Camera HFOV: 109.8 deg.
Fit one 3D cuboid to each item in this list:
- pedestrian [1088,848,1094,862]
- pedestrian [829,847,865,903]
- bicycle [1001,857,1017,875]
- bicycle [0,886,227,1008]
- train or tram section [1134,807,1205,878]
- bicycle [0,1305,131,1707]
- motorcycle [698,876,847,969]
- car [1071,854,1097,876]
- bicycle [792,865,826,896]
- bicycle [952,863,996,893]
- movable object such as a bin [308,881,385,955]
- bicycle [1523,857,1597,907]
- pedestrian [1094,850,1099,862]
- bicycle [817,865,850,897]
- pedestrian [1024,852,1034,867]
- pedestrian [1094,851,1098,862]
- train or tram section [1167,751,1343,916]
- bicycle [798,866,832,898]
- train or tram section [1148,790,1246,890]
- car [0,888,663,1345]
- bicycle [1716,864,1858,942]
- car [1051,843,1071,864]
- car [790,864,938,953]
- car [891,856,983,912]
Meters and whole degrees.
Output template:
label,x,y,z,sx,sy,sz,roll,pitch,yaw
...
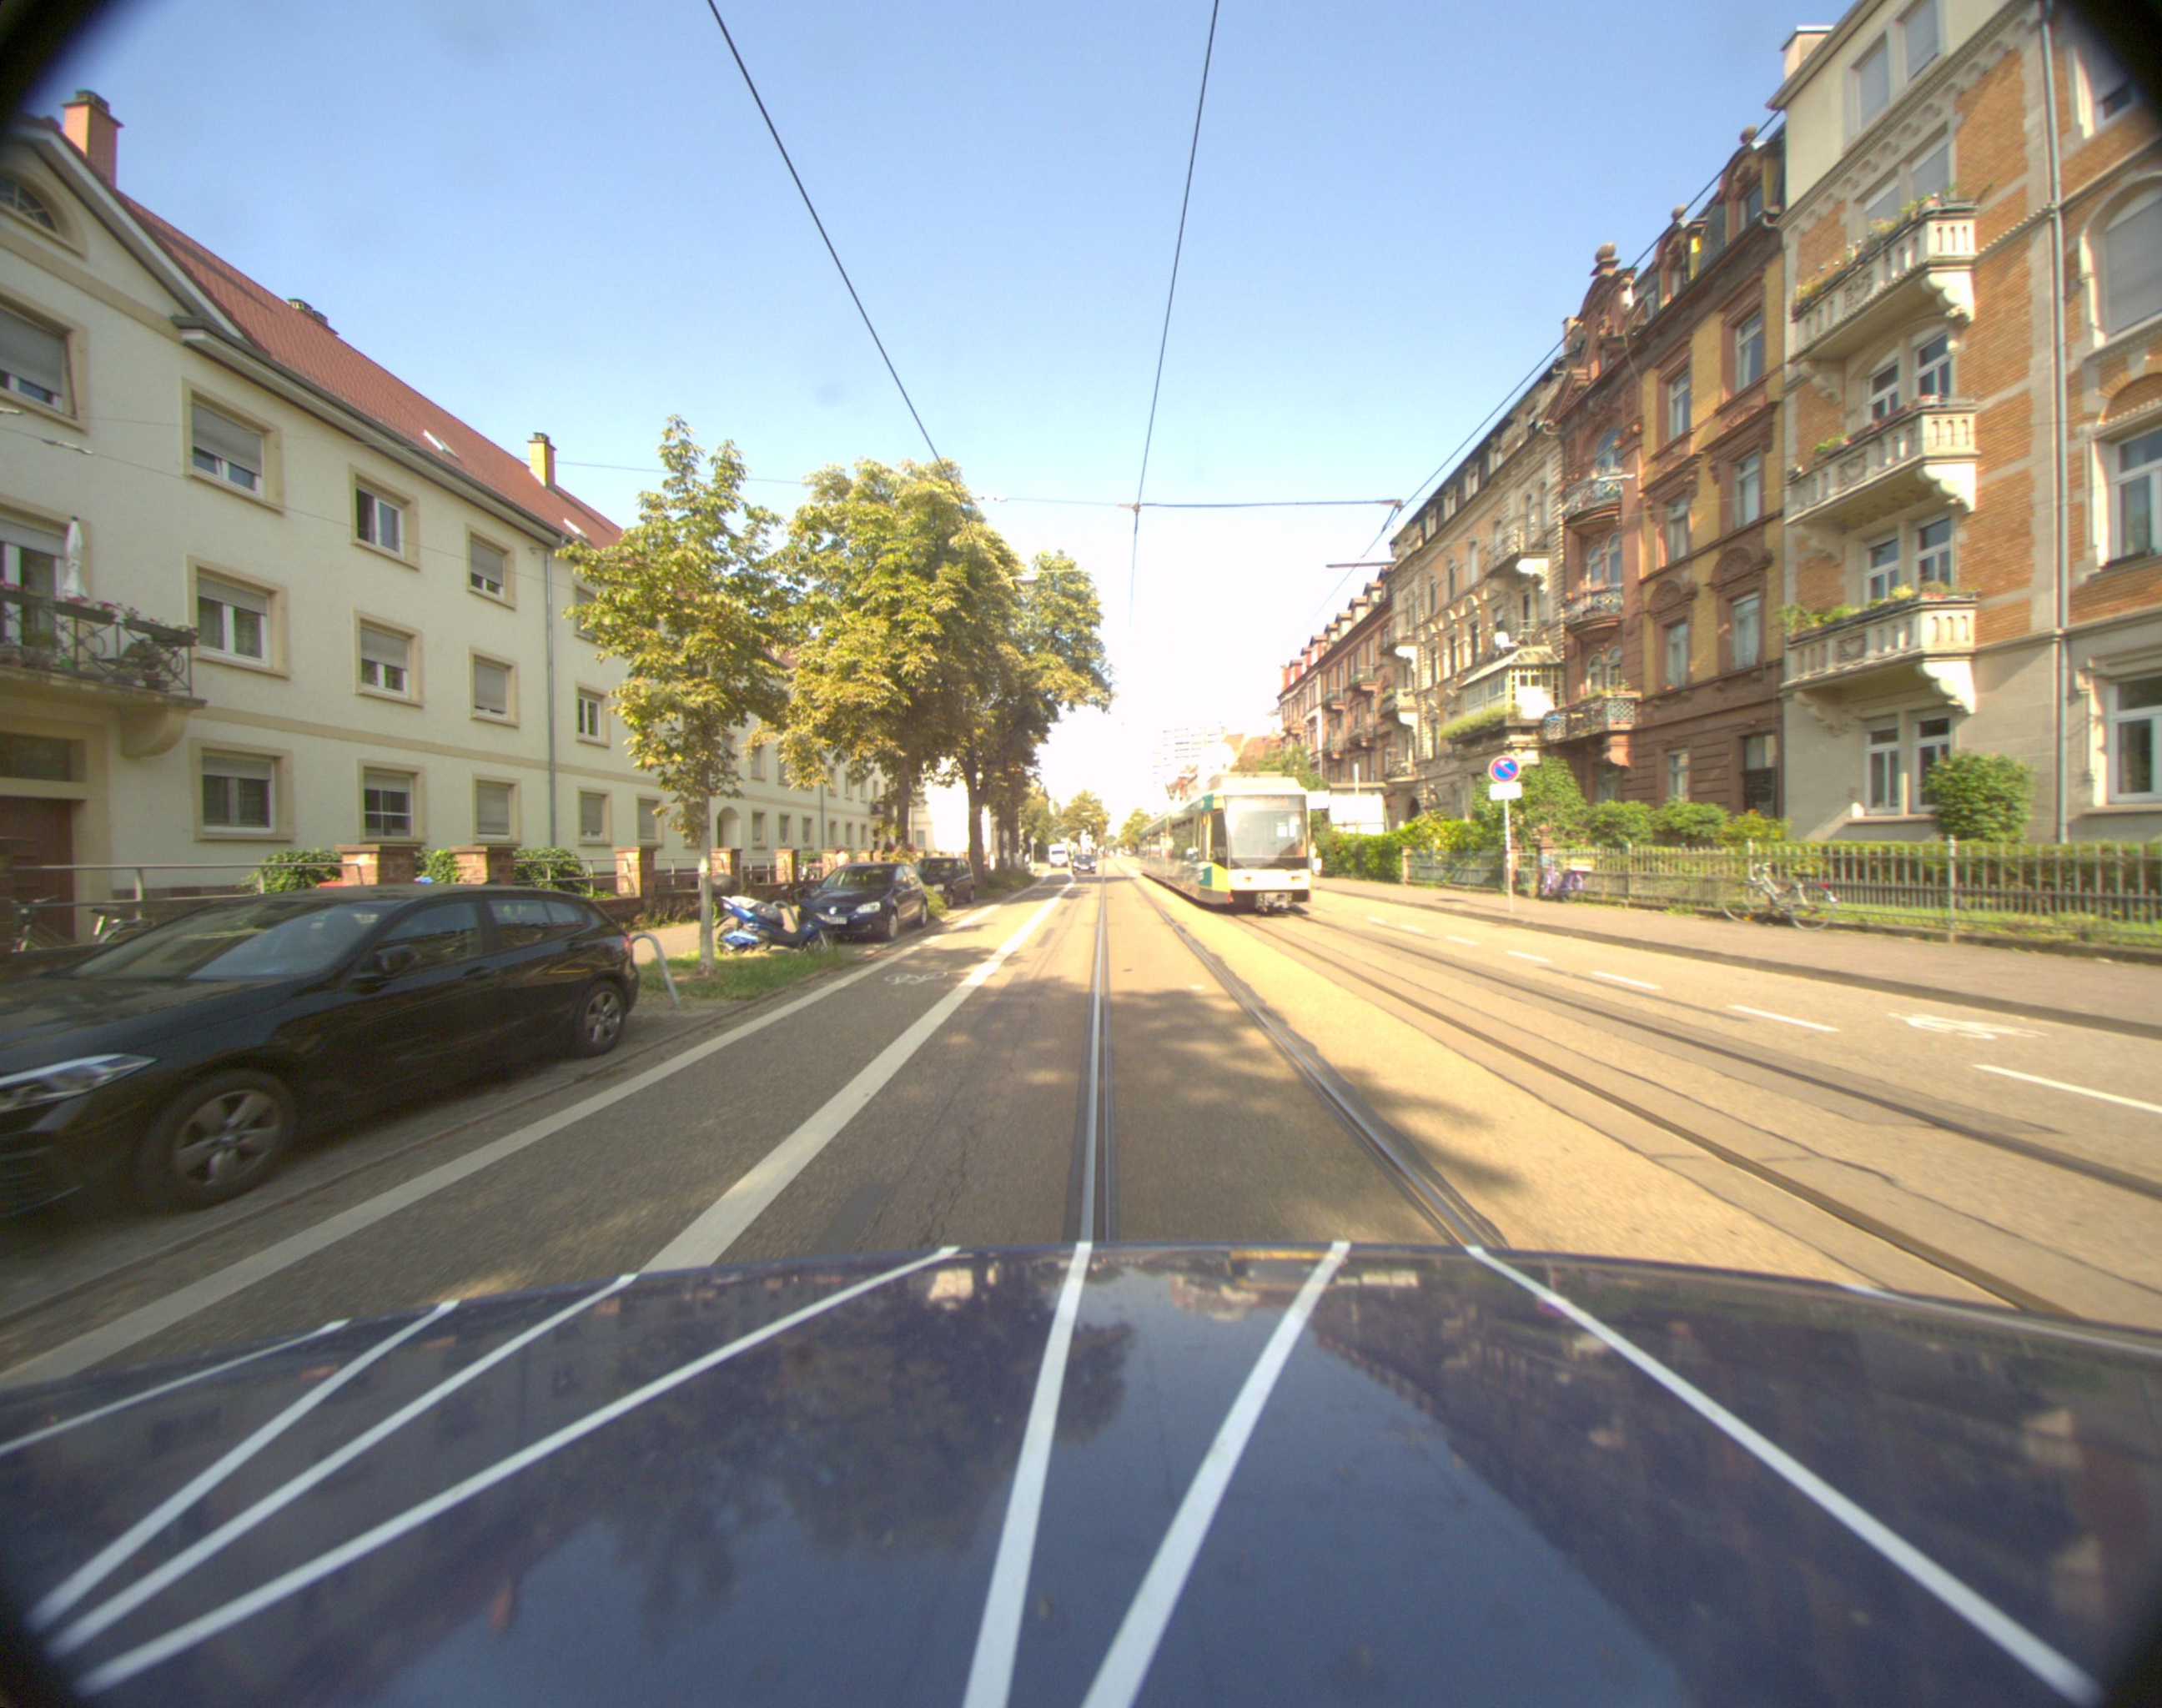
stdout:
label,x,y,z,sx,sy,sz,roll,pitch,yaw
pedestrian,1.285,0.161,97.460,0.769,1.750,0.680,-1,1,1
pedestrian,-7.547,0.662,24.524,0.754,1.739,0.879,-1,1,8
bicycle,-4.474,0.729,47.277,0.773,1.097,2.333,-1,0,0
bicycle,-10.903,0.950,8.171,0.773,1.097,2.333,-1,0,0
train or tram section,4.959,-0.614,45.658,2.741,3.485,15.433,-2,0,1
bicycle,-2.053,1.278,0.604,0.628,0.903,1.525,-3,1,1
motorcycle,-4.605,1.026,11.428,1.859,1.281,0.705,3,-4,-1
car,0.223,0.780,55.372,1.775,1.459,4.000,-2,0,0
bicycle,-9.990,0.962,27.961,0.525,1.067,1.729,-2,1,3
bicycle,-4.200,0.937,29.913,0.524,1.067,1.732,-1,1,44
movable object such as a bin,-11.223,0.962,11.626,0.507,1.063,0.660,-1,1,3
bicycle,11.293,0.637,17.975,0.608,1.052,1.840,-5,0,4
pedestrian,2.196,0.295,107.756,0.590,1.711,0.607,-1,1,4
bicycle,-8.936,0.945,27.453,0.525,1.067,1.729,-2,1,3
pedestrian,-6.112,0.600,88.919,1.079,1.714,0.969,2,1,1
pedestrian,2.134,0.296,107.112,0.590,1.535,0.607,-1,1,4
train or tram section,4.363,-0.461,21.771,2.741,3.485,10.776,-2,0,1
bicycle,-9.552,0.989,27.348,0.525,1.067,1.729,-2,1,3
train or tram section,4.625,-0.522,32.552,2.741,3.485,10.776,-2,0,1
car,-4.753,1.062,4.815,1.693,1.426,4.337,2,0,1
bicycle,11.107,0.731,12.044,0.546,1.052,1.840,-5,0,4
car,-2.234,-0.099,86.511,2.087,2.264,4.826,-1,0,-1
car,-4.217,0.986,15.465,1.649,1.440,4.246,1,1,2
car,-4.356,0.861,23.520,1.648,1.531,3.844,1,1,7
